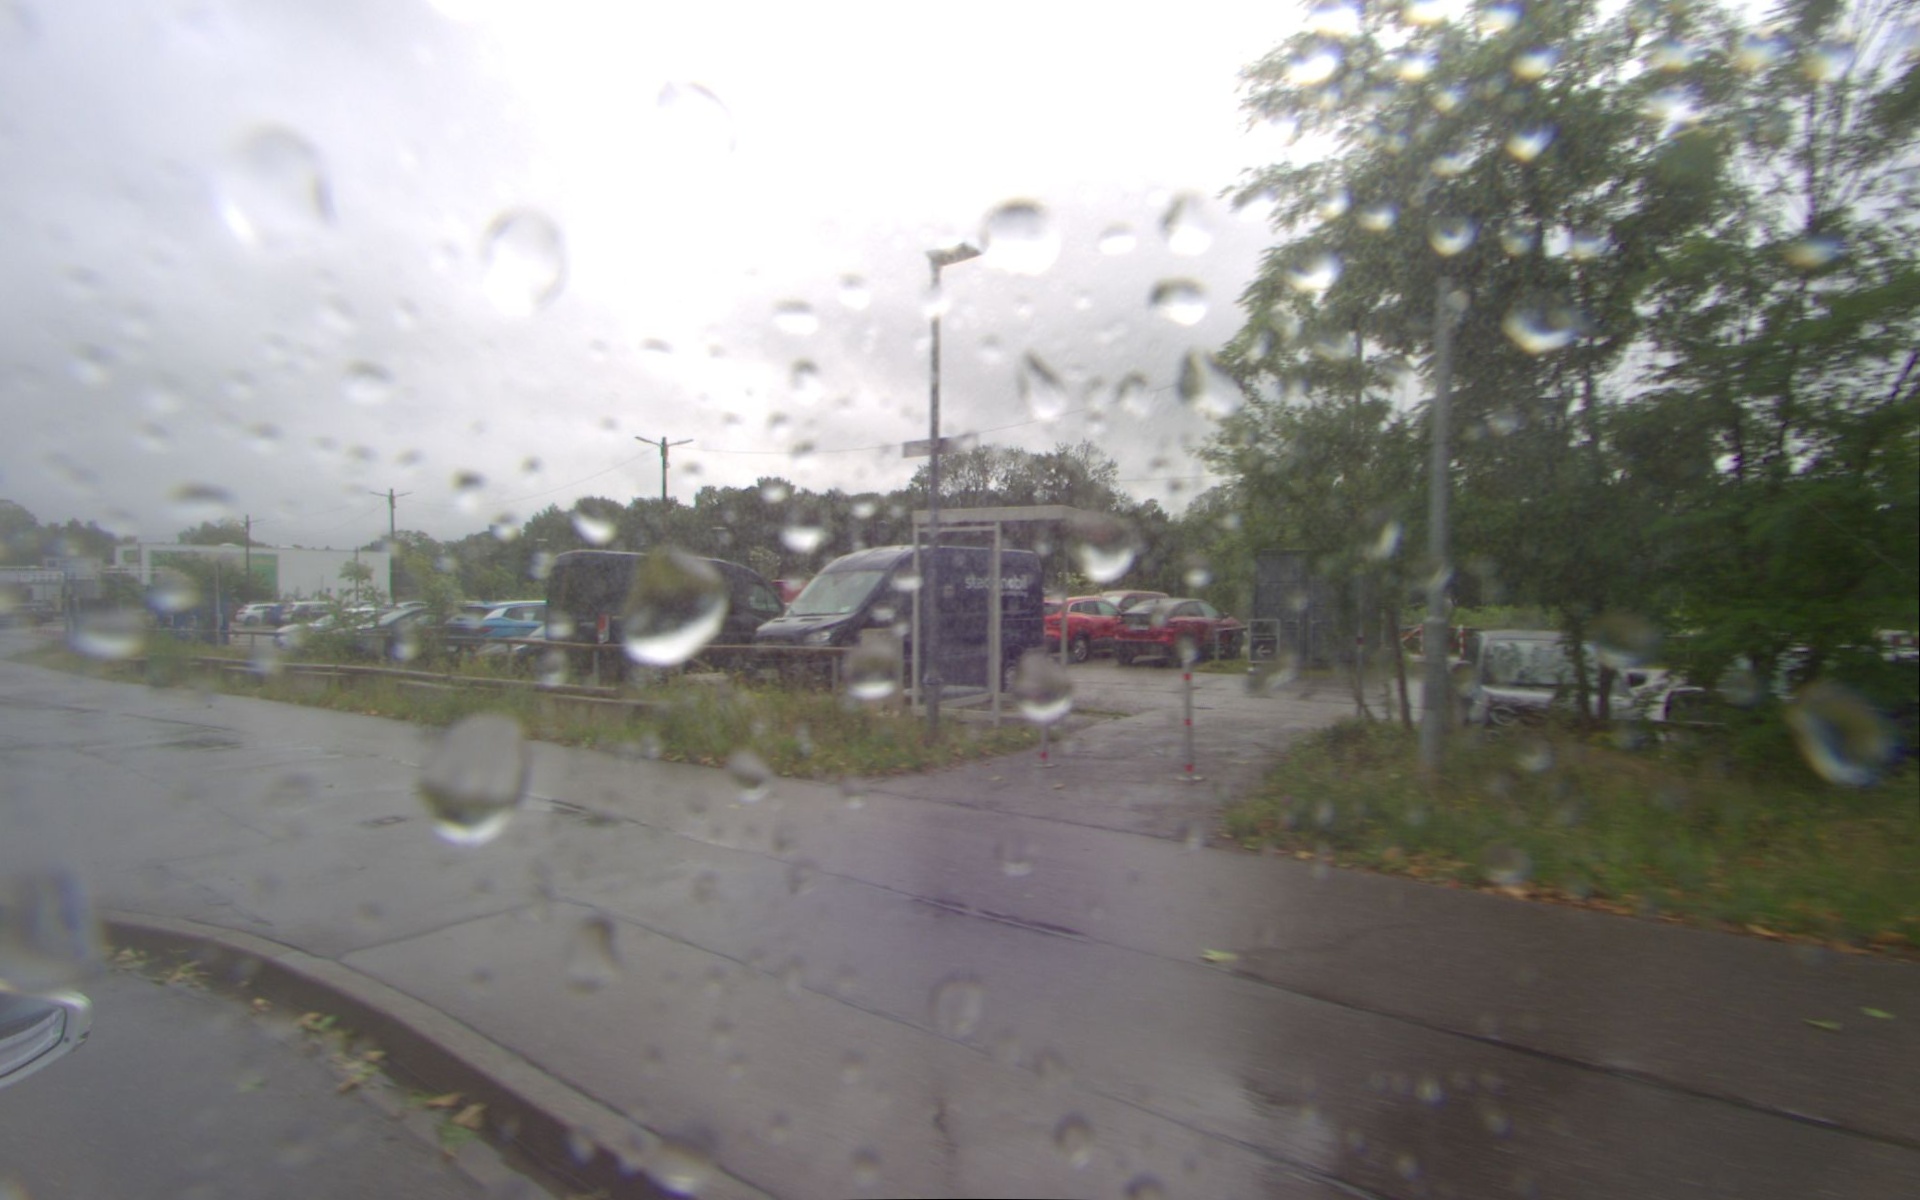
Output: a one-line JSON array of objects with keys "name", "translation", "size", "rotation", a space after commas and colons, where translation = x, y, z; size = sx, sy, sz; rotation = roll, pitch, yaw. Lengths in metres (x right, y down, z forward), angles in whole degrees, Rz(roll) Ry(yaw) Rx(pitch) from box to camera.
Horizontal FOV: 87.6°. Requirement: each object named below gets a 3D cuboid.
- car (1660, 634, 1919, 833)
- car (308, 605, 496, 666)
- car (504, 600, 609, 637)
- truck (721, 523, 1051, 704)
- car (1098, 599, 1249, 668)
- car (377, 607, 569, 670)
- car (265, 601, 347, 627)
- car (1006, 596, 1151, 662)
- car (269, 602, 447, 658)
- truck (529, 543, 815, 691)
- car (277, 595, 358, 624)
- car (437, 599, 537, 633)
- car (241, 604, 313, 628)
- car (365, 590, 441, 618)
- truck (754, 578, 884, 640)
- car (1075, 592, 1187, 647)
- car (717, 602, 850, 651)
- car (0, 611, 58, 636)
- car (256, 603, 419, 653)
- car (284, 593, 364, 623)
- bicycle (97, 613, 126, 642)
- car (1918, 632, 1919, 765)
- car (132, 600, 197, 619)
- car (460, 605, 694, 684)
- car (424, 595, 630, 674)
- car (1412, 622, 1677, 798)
[{"name": "car", "translation": [8.765, 1.148, 9.946], "size": [1.842, 1.523, 3.994], "rotation": [0, 0, 17]}, {"name": "car", "translation": [-14.311, 0.914, 25.839], "size": [1.757, 1.441, 3.881], "rotation": [-1, -2, 38]}, {"name": "car", "translation": [-17.704, 0.792, 44.054], "size": [1.759, 1.509, 3.930], "rotation": [-2, 0, 42]}, {"name": "truck", "translation": [-0.942, 0.260, 15.743], "size": [2.050, 2.353, 5.306], "rotation": [-1, -2, 40]}, {"name": "car", "translation": [5.272, 0.767, 24.405], "size": [1.822, 1.468, 3.965], "rotation": [-2, 0, 42]}, {"name": "car", "translation": [-11.842, 0.932, 24.541], "size": [1.757, 1.412, 3.881], "rotation": [-1, -2, 38]}, {"name": "car", "translation": [-41.954, 0.884, 64.288], "size": [1.908, 1.504, 4.020], "rotation": [-2, 1, 43]}, {"name": "car", "translation": [3.162, 0.713, 26.129], "size": [1.788, 1.557, 3.930], "rotation": [-2, 0, 42]}, {"name": "car", "translation": [-16.825, 0.853, 28.117], "size": [1.882, 1.441, 3.881], "rotation": [-1, -2, 38]}, {"name": "truck", "translation": [-5.315, 0.357, 19.139], "size": [2.084, 2.433, 5.015], "rotation": [0, -2, 38]}, {"name": "car", "translation": [-39.993, 0.569, 62.397], "size": [1.768, 1.605, 3.879], "rotation": [-2, 1, 43]}, {"name": "car", "translation": [-22.505, 0.735, 47.719], "size": [1.759, 1.509, 3.930], "rotation": [-2, 0, 42]}, {"name": "car", "translation": [-47.439, 1.110, 69.598], "size": [1.908, 1.504, 3.806], "rotation": [-2, 1, 43]}, {"name": "car", "translation": [-37.402, 0.262, 67.263], "size": [1.810, 1.681, 4.042], "rotation": [-2, 0, 39]}, {"name": "truck", "translation": [-5.744, 0.347, 41.296], "size": [2.128, 2.399, 5.264], "rotation": [0, 0, 40]}, {"name": "car", "translation": [5.525, 0.630, 32.048], "size": [1.745, 1.661, 3.967], "rotation": [-1, -1, 42]}, {"name": "car", "translation": [-5.682, 0.830, 32.511], "size": [1.867, 1.446, 3.930], "rotation": [-2, 0, 42]}, {"name": "car", "translation": [-69.570, 1.739, 73.681], "size": [2.107, 1.757, 4.652], "rotation": [-2, -1, 45]}, {"name": "car", "translation": [-18.684, 0.859, 30.172], "size": [1.882, 1.411, 3.758], "rotation": [-1, -2, 38]}, {"name": "car", "translation": [-38.266, 0.480, 60.291], "size": [1.768, 1.605, 3.752], "rotation": [-2, 1, 43]}, {"name": "bicycle", "translation": [-32.868, 1.064, 38.786], "size": [0.501, 1.098, 1.695], "rotation": [0, 0, -28]}, {"name": "car", "translation": [11.464, 1.127, 9.501], "size": [1.842, 1.543, 3.994], "rotation": [0, 0, 17]}, {"name": "car", "translation": [-65.971, 0.815, 83.097], "size": [1.978, 1.504, 3.968], "rotation": [-2, -2, 41]}, {"name": "car", "translation": [-7.723, 0.892, 20.521], "size": [1.840, 1.438, 4.145], "rotation": [-1, -2, 38]}, {"name": "car", "translation": [-9.686, 0.782, 22.641], "size": [1.874, 1.615, 3.881], "rotation": [-1, -2, 38]}, {"name": "car", "translation": [6.164, 1.030, 11.059], "size": [1.674, 1.509, 3.994], "rotation": [0, 0, 17]}]
